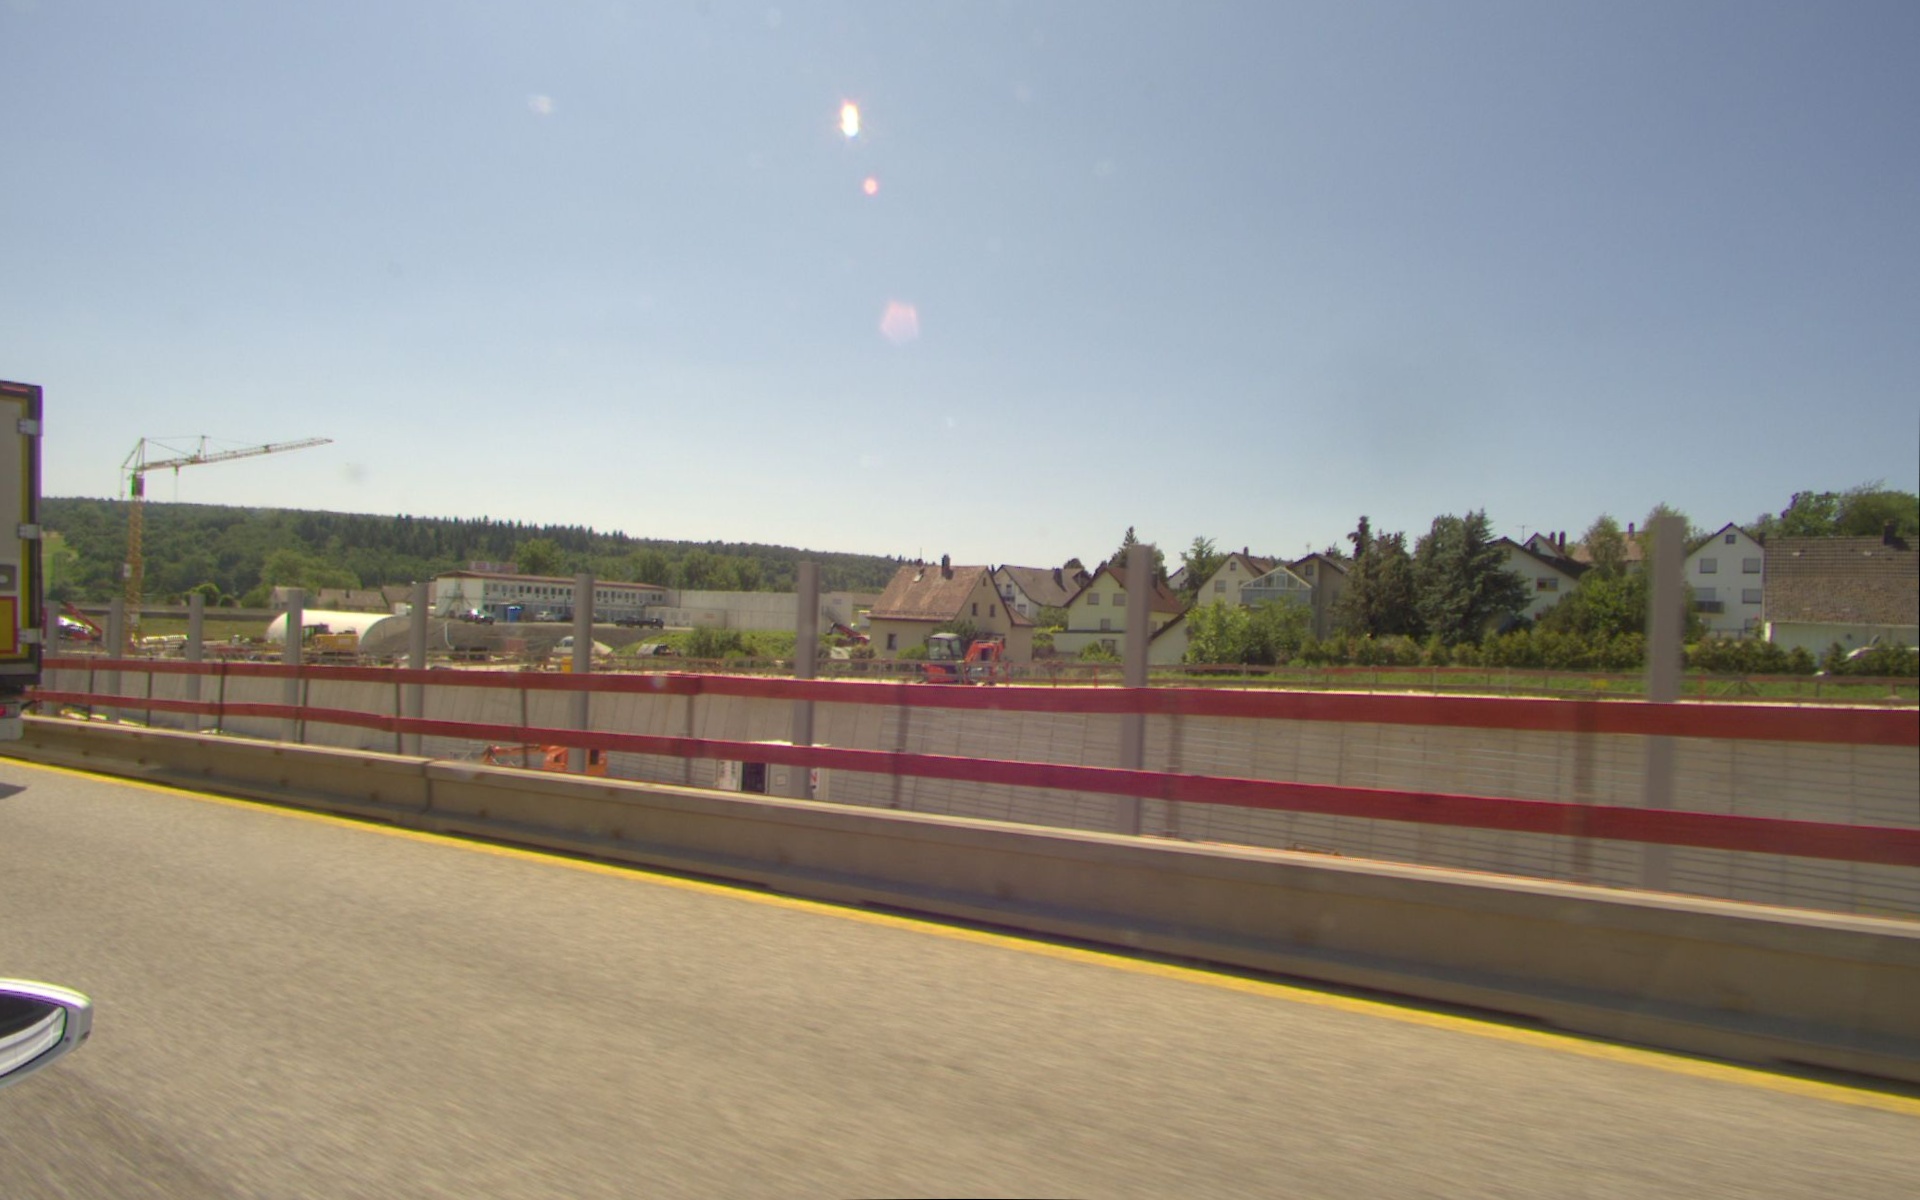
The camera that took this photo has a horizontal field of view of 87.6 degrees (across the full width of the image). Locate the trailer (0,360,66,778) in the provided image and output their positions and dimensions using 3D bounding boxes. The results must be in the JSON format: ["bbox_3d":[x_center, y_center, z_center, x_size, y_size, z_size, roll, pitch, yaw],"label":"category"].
[{"bbox_3d":[-15.782,-0.172,12.774,13.915,4.110,2.797,-2,-2,32],"label":"trailer"}]

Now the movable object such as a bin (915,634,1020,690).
[{"bbox_3d":[0.319,2.600,42.916,4.093,2.267,1.990,-1,-2,33],"label":"movable object such as a bin"}]

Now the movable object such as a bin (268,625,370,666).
[{"bbox_3d":[-47.896,3.347,74.711,9.346,2.946,2.882,-1,-2,33],"label":"movable object such as a bin"}]
